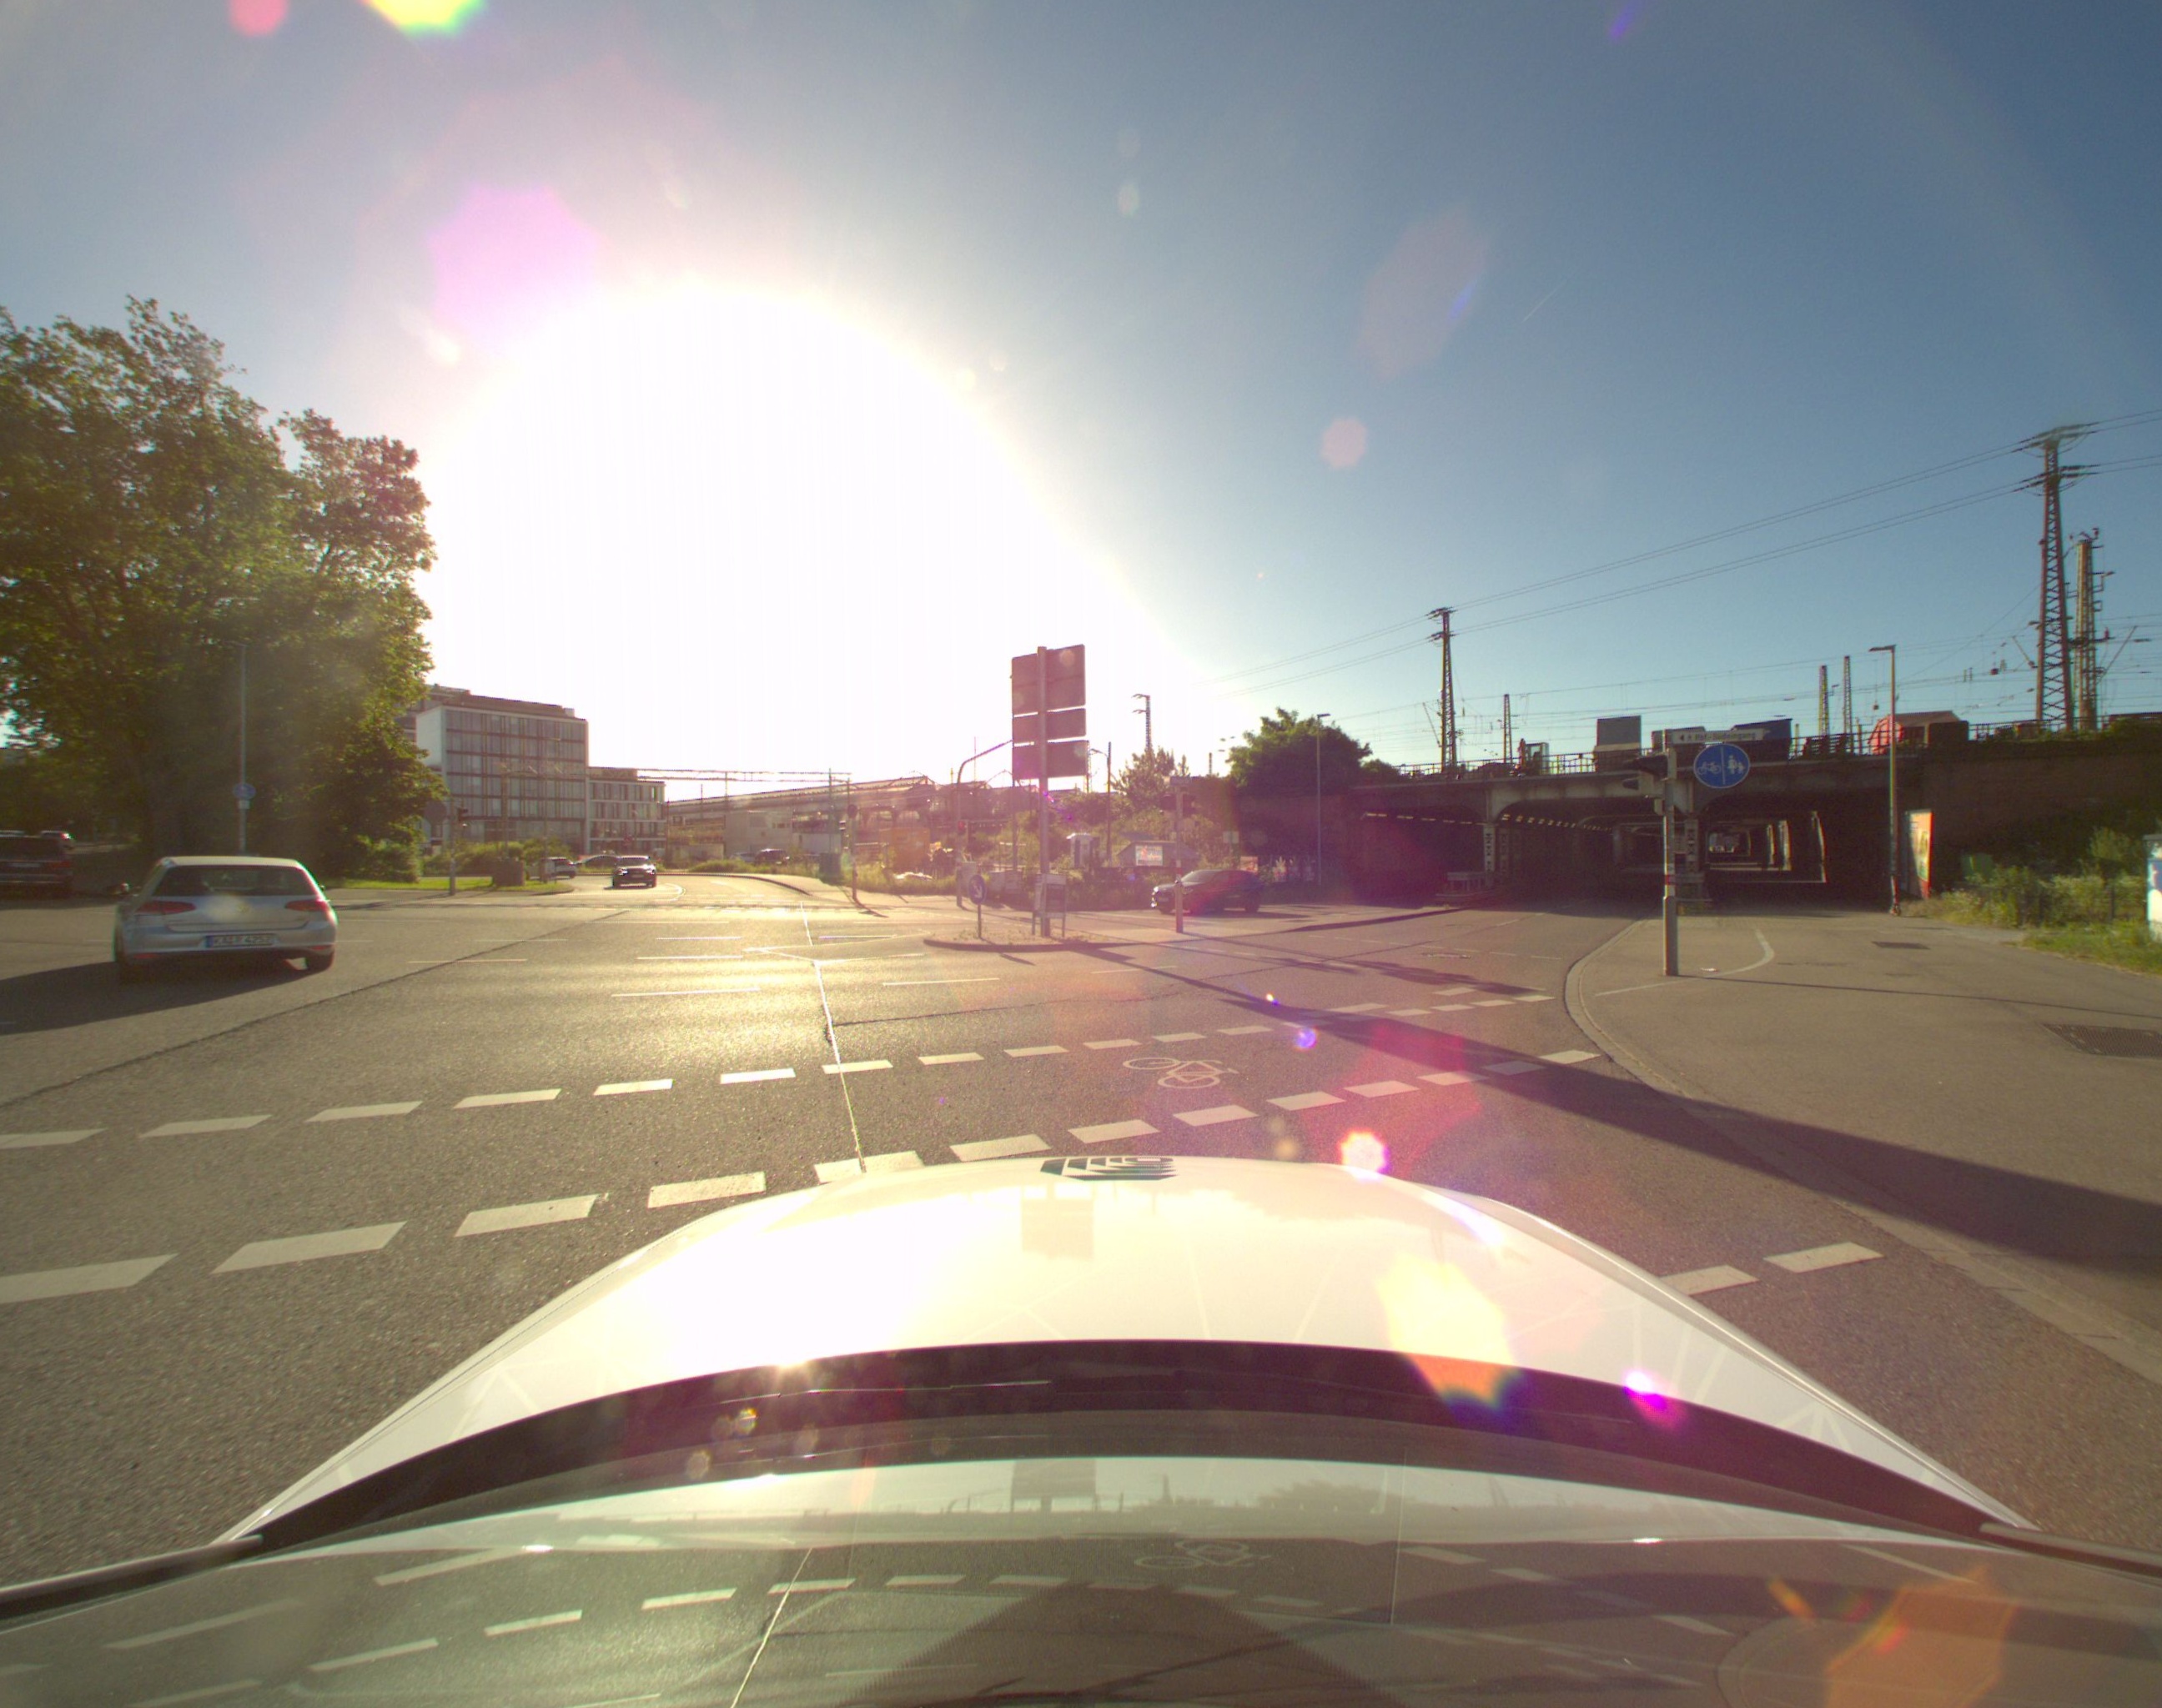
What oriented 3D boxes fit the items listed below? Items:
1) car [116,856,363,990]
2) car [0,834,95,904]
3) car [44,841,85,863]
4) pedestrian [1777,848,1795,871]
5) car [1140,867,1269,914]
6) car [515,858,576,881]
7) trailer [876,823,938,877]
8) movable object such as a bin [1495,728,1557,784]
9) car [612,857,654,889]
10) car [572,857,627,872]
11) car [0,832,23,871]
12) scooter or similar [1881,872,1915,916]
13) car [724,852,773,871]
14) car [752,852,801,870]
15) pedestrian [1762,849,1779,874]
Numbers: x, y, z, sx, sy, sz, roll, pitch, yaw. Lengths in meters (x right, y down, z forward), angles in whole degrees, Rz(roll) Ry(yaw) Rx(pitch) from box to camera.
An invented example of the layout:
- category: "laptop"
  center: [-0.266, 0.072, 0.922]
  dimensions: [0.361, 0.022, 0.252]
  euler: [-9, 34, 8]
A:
- category: "car"
  center: [-11.140, 0.746, 10.711]
  dimensions: [3.886, 1.427, 1.989]
  euler: [0, 0, 40]
- category: "car"
  center: [-31.005, 0.397, 23.765]
  dimensions: [4.751, 1.887, 2.133]
  euler: [0, 0, 31]
- category: "car"
  center: [-77.927, -0.186, 62.433]
  dimensions: [4.211, 1.650, 1.871]
  euler: [0, 0, 37]
- category: "pedestrian"
  center: [53.847, 0.419, 62.194]
  dimensions: [0.907, 1.656, 0.892]
  euler: [-3, -2, 35]
- category: "car"
  center: [4.323, 1.195, 28.236]
  dimensions: [4.407, 1.518, 1.934]
  euler: [1, -1, -38]
- category: "car"
  center: [-36.983, 1.057, 56.241]
  dimensions: [3.950, 1.476, 1.764]
  euler: [0, 0, 26]
- category: "trailer"
  center: [-11.588, -0.192, 53.759]
  dimensions: [3.006, 3.292, 6.621]
  euler: [1, -1, -21]
- category: "movable object such as a bin"
  center: [23.036, -4.997, 42.066]
  dimensions: [1.974, 2.226, 4.860]
  euler: [0, -1, 39]
- category: "car"
  center: [-22.244, 0.884, 40.515]
  dimensions: [1.758, 1.476, 3.964]
  euler: [0, 0, -28]
- category: "car"
  center: [-62.196, 1.317, 105.271]
  dimensions: [1.892, 1.845, 5.758]
  euler: [1, 0, 34]
- category: "car"
  center: [-50.106, -0.125, 37.292]
  dimensions: [4.146, 1.713, 1.961]
  euler: [0, 0, 37]
- category: "scooter or similar"
  center: [22.978, 1.101, 22.913]
  dimensions: [0.532, 1.197, 1.299]
  euler: [0, -1, 38]
- category: "car"
  center: [-31.760, 0.735, 77.884]
  dimensions: [4.021, 1.788, 1.635]
  euler: [1, -1, -42]
- category: "car"
  center: [-28.320, 0.660, 75.804]
  dimensions: [4.021, 1.705, 1.596]
  euler: [1, -1, -42]
- category: "pedestrian"
  center: [53.204, 0.571, 62.834]
  dimensions: [0.871, 1.835, 0.928]
  euler: [-3, -2, 35]
